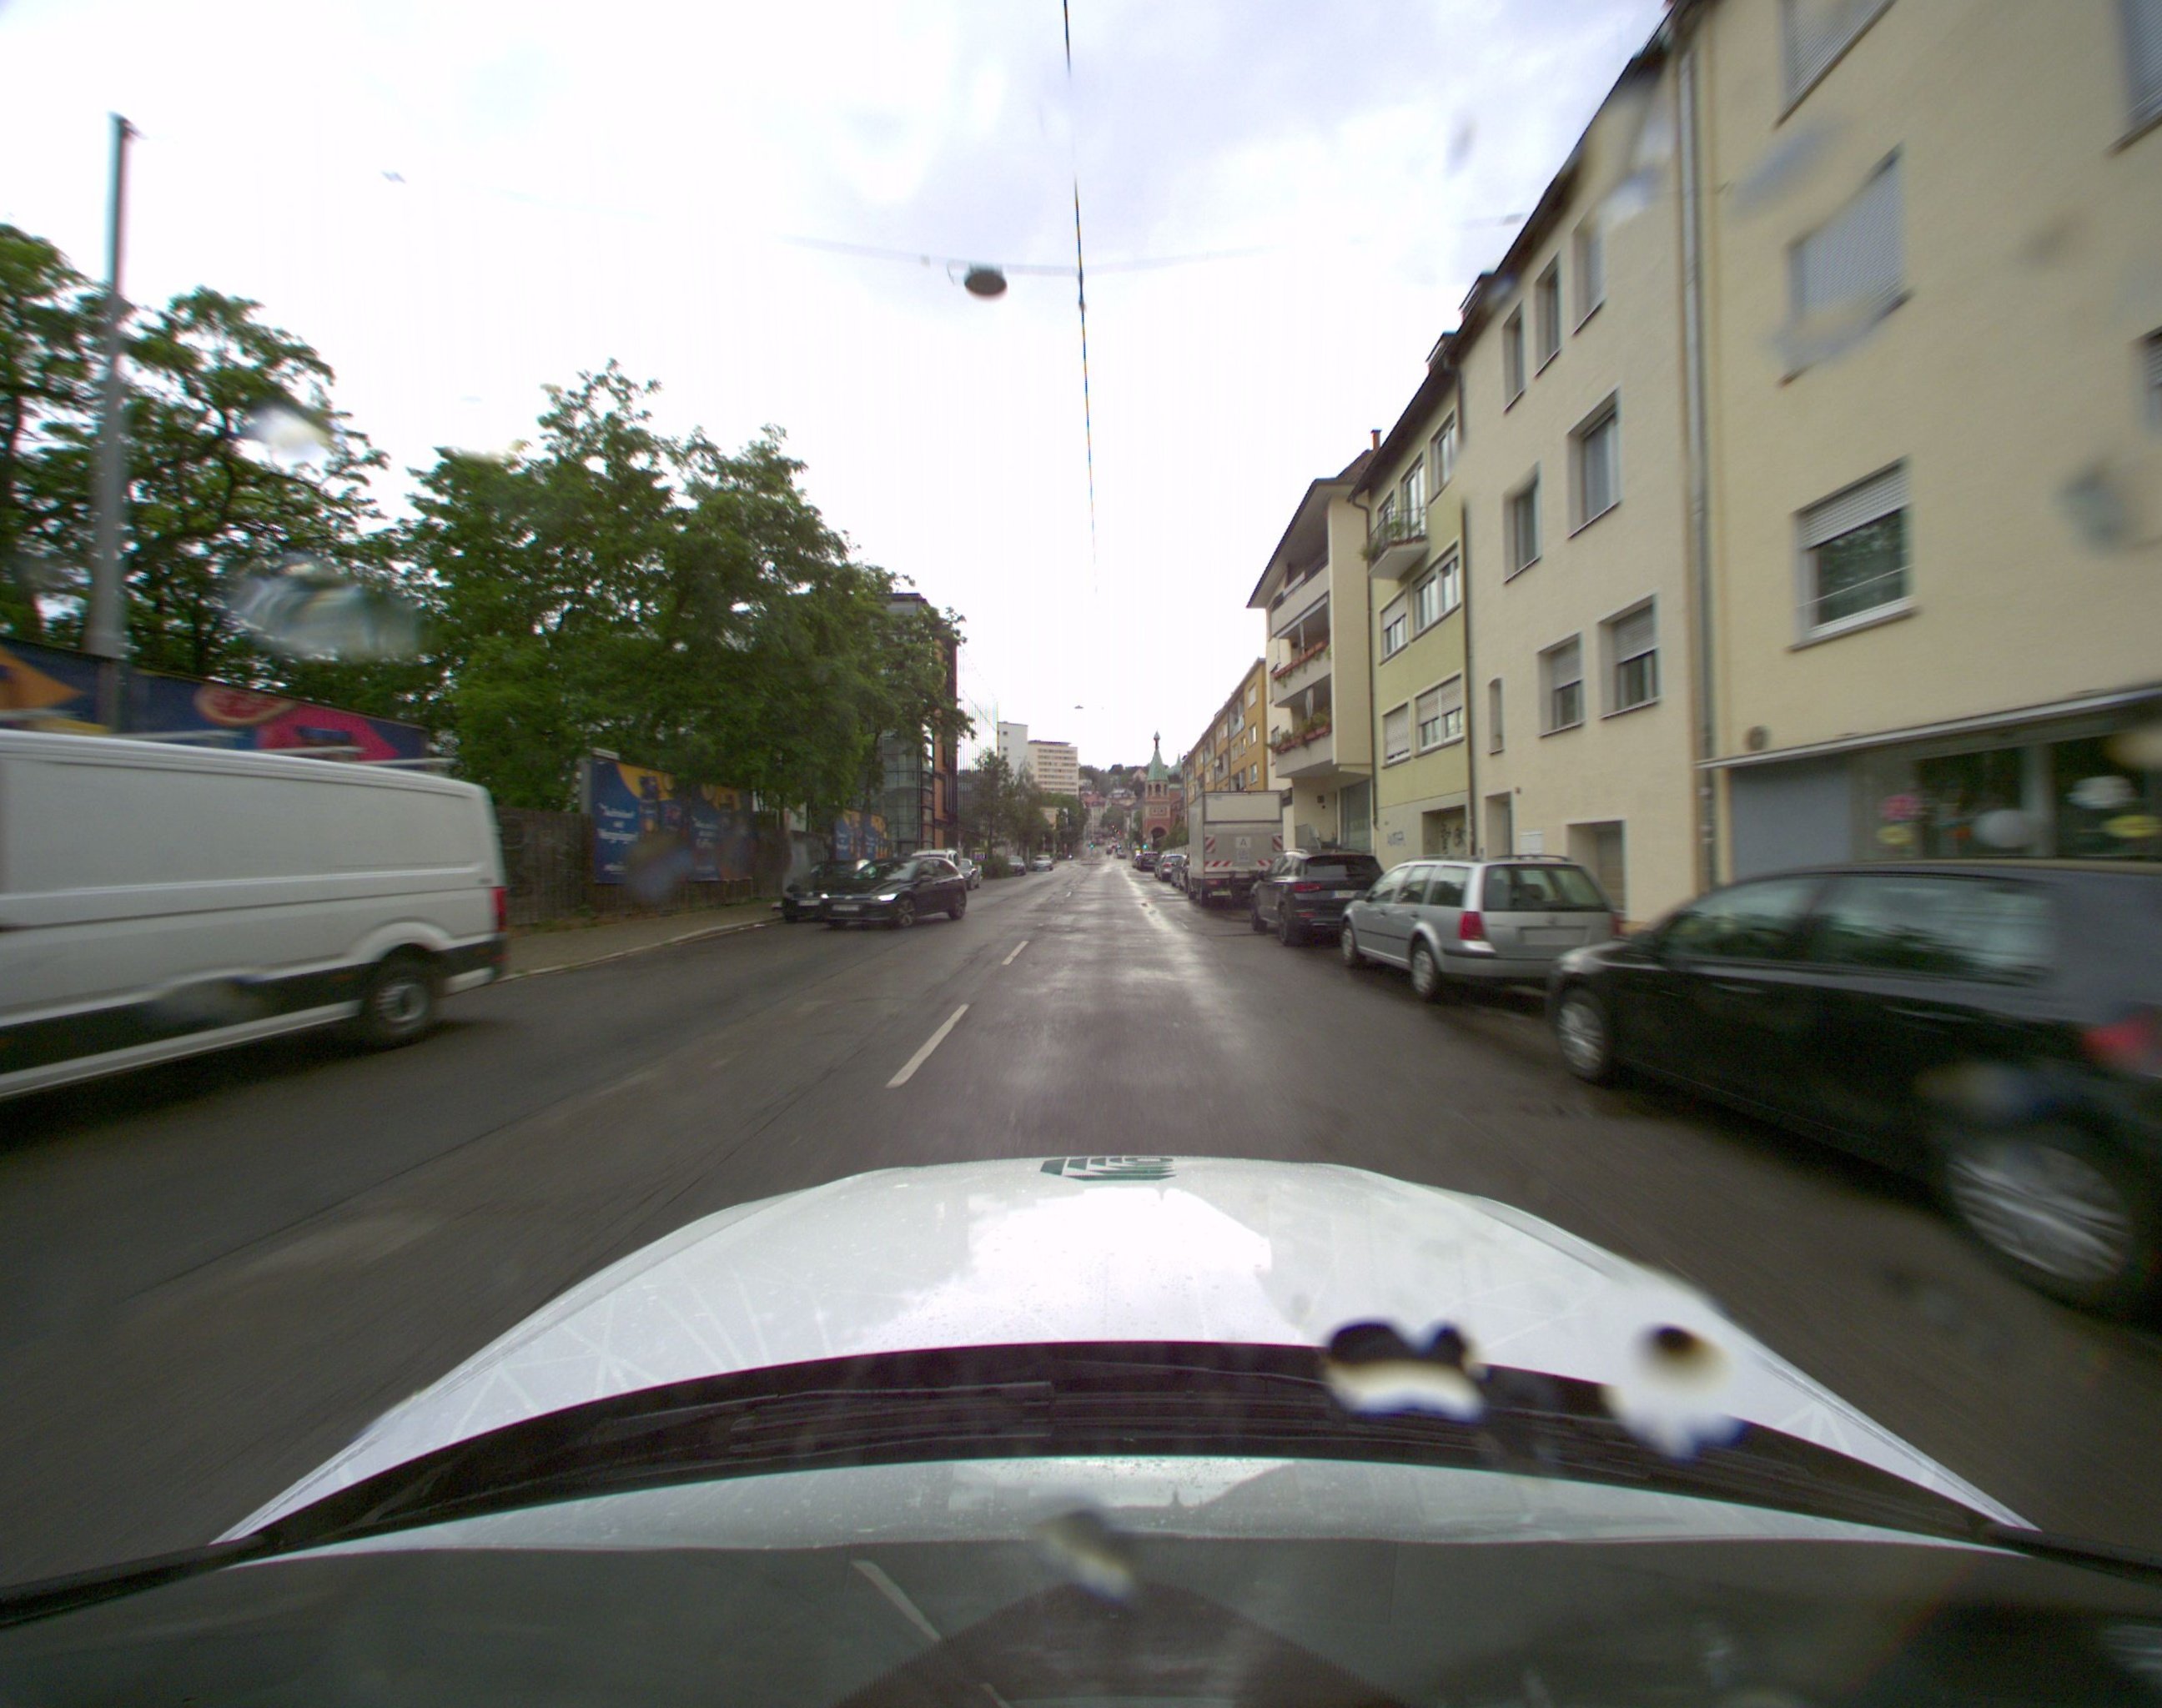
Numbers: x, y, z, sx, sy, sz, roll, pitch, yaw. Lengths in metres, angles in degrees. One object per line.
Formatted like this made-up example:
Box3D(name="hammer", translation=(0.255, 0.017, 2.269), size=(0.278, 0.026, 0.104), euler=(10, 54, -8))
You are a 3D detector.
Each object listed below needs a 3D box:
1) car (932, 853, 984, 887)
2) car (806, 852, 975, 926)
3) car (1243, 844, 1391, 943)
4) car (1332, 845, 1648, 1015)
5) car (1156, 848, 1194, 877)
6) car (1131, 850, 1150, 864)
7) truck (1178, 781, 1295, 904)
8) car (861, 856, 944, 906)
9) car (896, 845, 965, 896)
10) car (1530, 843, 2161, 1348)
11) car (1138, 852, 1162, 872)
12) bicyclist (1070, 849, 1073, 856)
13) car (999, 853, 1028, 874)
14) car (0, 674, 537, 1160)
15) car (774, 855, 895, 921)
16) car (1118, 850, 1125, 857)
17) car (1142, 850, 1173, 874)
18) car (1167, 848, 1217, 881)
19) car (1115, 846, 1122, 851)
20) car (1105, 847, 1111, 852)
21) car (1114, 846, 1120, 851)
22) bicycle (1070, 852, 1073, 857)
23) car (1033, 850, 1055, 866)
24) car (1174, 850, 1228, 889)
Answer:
Box3D(name="car", translation=(-5.526, 0.710, 37.005), size=(1.718, 1.376, 4.342), euler=(-2, -1, -1))
Box3D(name="car", translation=(-3.988, 0.688, 17.912), size=(1.792, 1.415, 4.400), euler=(-1, 0, 14))
Box3D(name="car", translation=(4.205, 0.629, 15.140), size=(1.657, 1.573, 4.099), euler=(-1, 0, 2))
Box3D(name="car", translation=(4.277, 0.675, 9.320), size=(1.657, 1.500, 4.099), euler=(-1, 0, 2))
Box3D(name="car", translation=(5.139, 0.435, 44.804), size=(1.658, 1.502, 3.921), euler=(-1, 0, 0))
Box3D(name="car", translation=(6.388, 0.303, 87.942), size=(1.811, 1.522, 4.077), euler=(1, 0, 1))
Box3D(name="truck", translation=(4.490, -0.285, 24.883), size=(2.460, 3.172, 7.039), euler=(-1, 0, 2))
Box3D(name="car", translation=(-5.787, 0.840, 26.869), size=(1.676, 1.462, 4.277), euler=(-2, -1, 1))
Box3D(name="car", translation=(-5.739, 0.609, 31.522), size=(1.717, 1.800, 4.345), euler=(-2, -1, 1))
Box3D(name="car", translation=(3.985, 0.695, 4.109), size=(1.571, 1.470, 3.503), euler=(-1, 0, 1))
Box3D(name="car", translation=(5.940, 0.651, 70.544), size=(1.811, 1.652, 4.077), euler=(1, 0, 1))
Box3D(name="bicyclist", translation=(-2.192, -0.313, 183.836), size=(0.675, 1.661, 0.650), euler=(-1, -1, -2))
Box3D(name="car", translation=(-5.020, 0.694, 60.969), size=(1.797, 1.450, 4.656), euler=(-1, -1, 0))
Box3D(name="car", translation=(-6.508, 0.342, 5.023), size=(2.004, 2.487, 5.987), euler=(-2, 0, 2))
Box3D(name="car", translation=(-5.935, 0.776, 20.074), size=(1.676, 1.398, 3.911), euler=(-2, -1, 1))
Box3D(name="car", translation=(10.280, -0.132, 205.311), size=(1.724, 1.653, 4.005), euler=(0, 0, 5))
Box3D(name="car", translation=(4.808, 0.497, 51.696), size=(1.658, 1.400, 3.921), euler=(-1, 0, 0))
Box3D(name="car", translation=(5.026, 0.507, 37.434), size=(1.659, 1.421, 3.918), euler=(-1, -1, -1))
Box3D(name="car", translation=(11.180, -1.615, 241.832), size=(1.885, 1.510, 4.001), euler=(1, 0, 1))
Box3D(name="car", translation=(8.313, -1.497, 248.014), size=(1.901, 1.510, 4.001), euler=(0, 0, 1))
Box3D(name="car", translation=(11.316, -1.862, 258.046), size=(1.901, 1.510, 4.001), euler=(1, 0, 1))
Box3D(name="bicycle", translation=(-2.185, 0.193, 183.871), size=(0.675, 1.107, 1.799), euler=(-1, -1, -1))
Box3D(name="car", translation=(-3.437, 0.409, 76.242), size=(1.704, 1.450, 4.294), euler=(-1, -1, 1))
Box3D(name="car", translation=(4.708, 0.580, 32.448), size=(1.657, 1.421, 4.044), euler=(-1, 0, 2))
